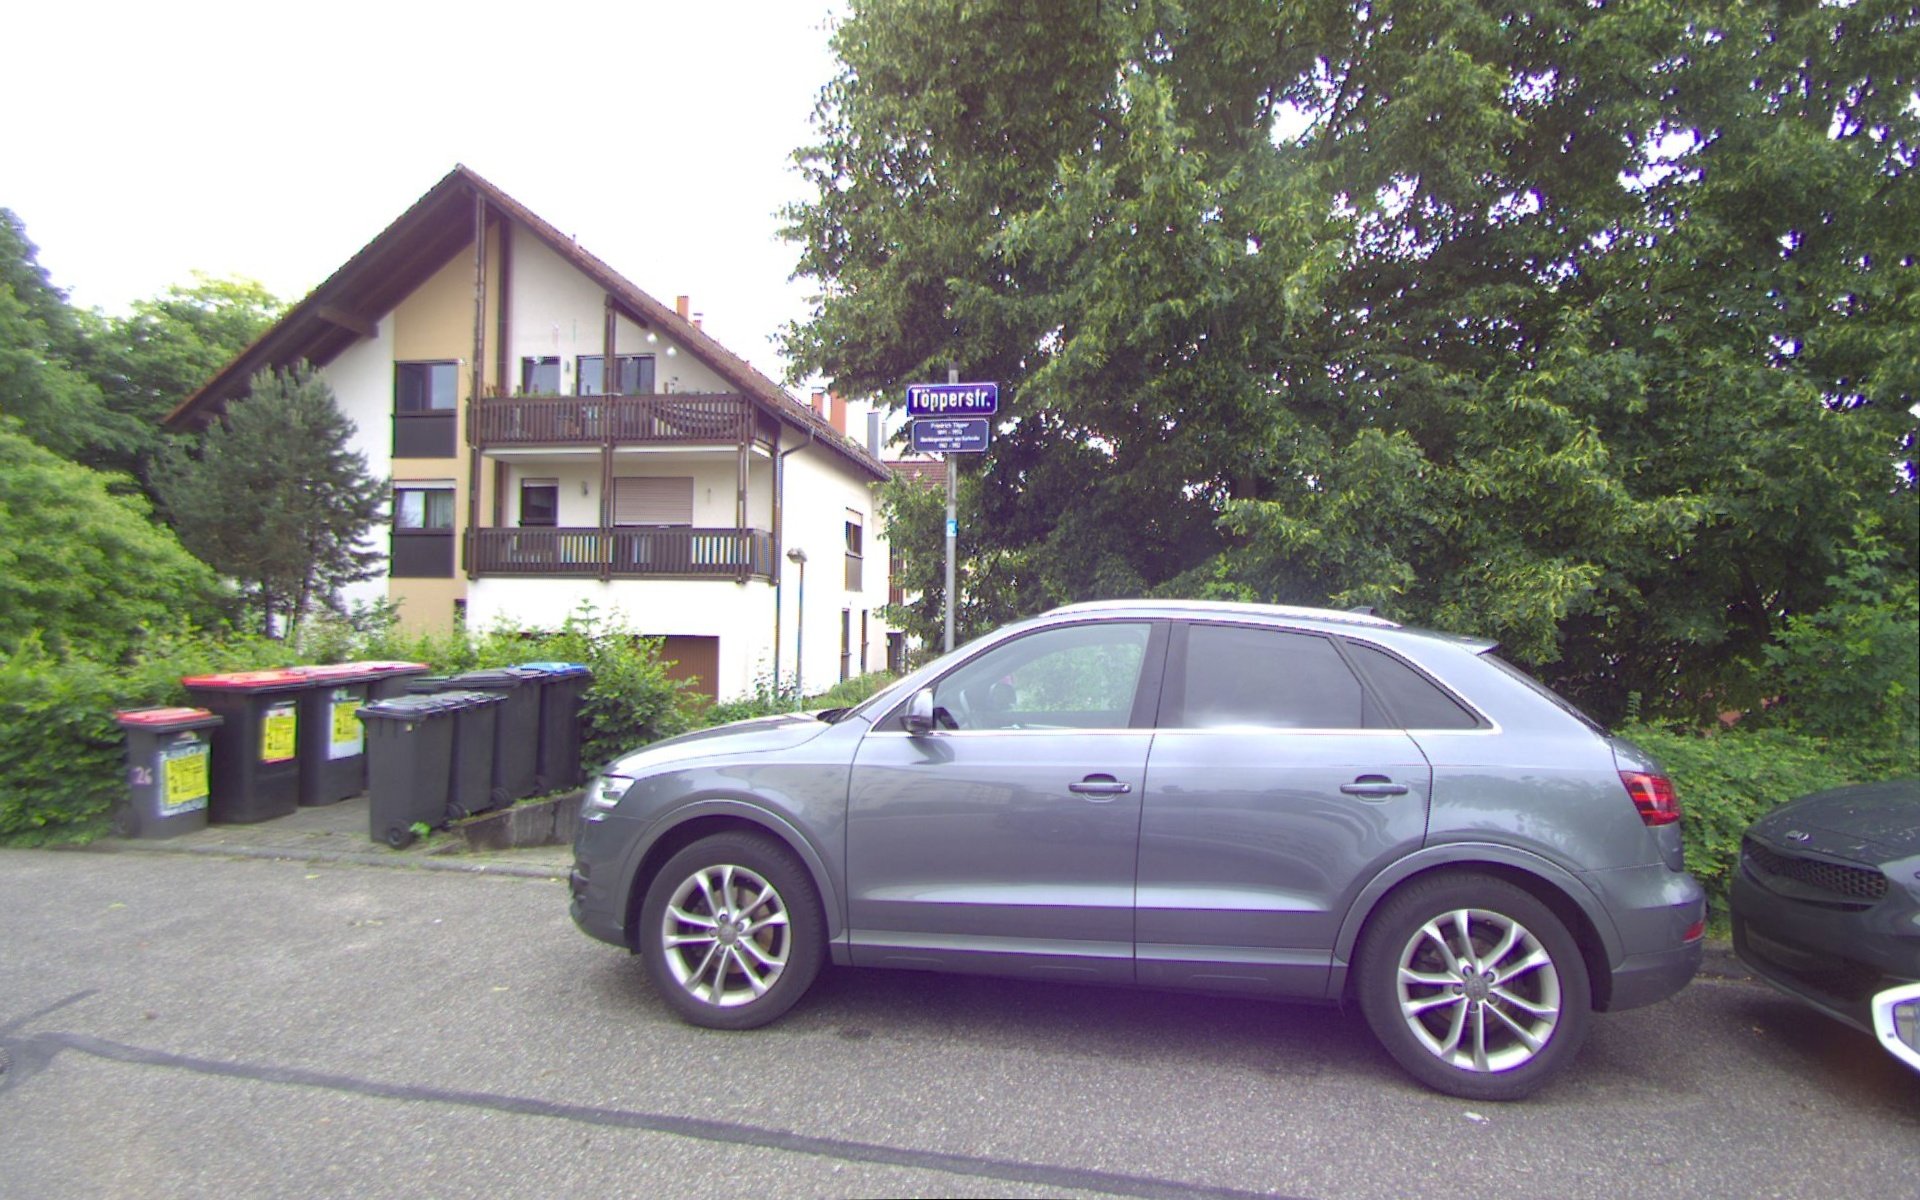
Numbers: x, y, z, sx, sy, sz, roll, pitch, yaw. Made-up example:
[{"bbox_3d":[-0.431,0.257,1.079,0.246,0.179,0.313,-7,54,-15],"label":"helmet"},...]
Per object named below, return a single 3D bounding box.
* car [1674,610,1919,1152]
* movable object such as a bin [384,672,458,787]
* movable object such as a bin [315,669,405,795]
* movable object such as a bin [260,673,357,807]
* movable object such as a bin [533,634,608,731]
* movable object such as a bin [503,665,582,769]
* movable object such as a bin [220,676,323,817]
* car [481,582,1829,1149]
[{"bbox_3d":[4.915,0.864,3.048,4.110,1.551,1.749,1,-3,14],"label":"car"},{"bbox_3d":[-4.547,1.079,8.486,0.379,0.913,0.379,2,-1,7],"label":"movable object such as a bin"},{"bbox_3d":[-5.090,1.105,8.526,0.528,1.007,0.338,2,-1,7],"label":"movable object such as a bin"},{"bbox_3d":[-5.189,1.104,8.013,0.528,1.007,0.338,2,-1,7],"label":"movable object such as a bin"},{"bbox_3d":[-3.400,0.712,8.785,0.451,0.808,0.379,2,-1,9],"label":"movable object such as a bin"},{"bbox_3d":[-3.464,0.960,8.350,0.451,0.808,0.379,2,-1,9],"label":"movable object such as a bin"},{"bbox_3d":[-5.242,1.100,7.657,0.528,1.007,0.338,2,-1,7],"label":"movable object such as a bin"},{"bbox_3d":[0.548,0.793,4.056,4.164,1.551,1.749,1,-3,9],"label":"car"}]
